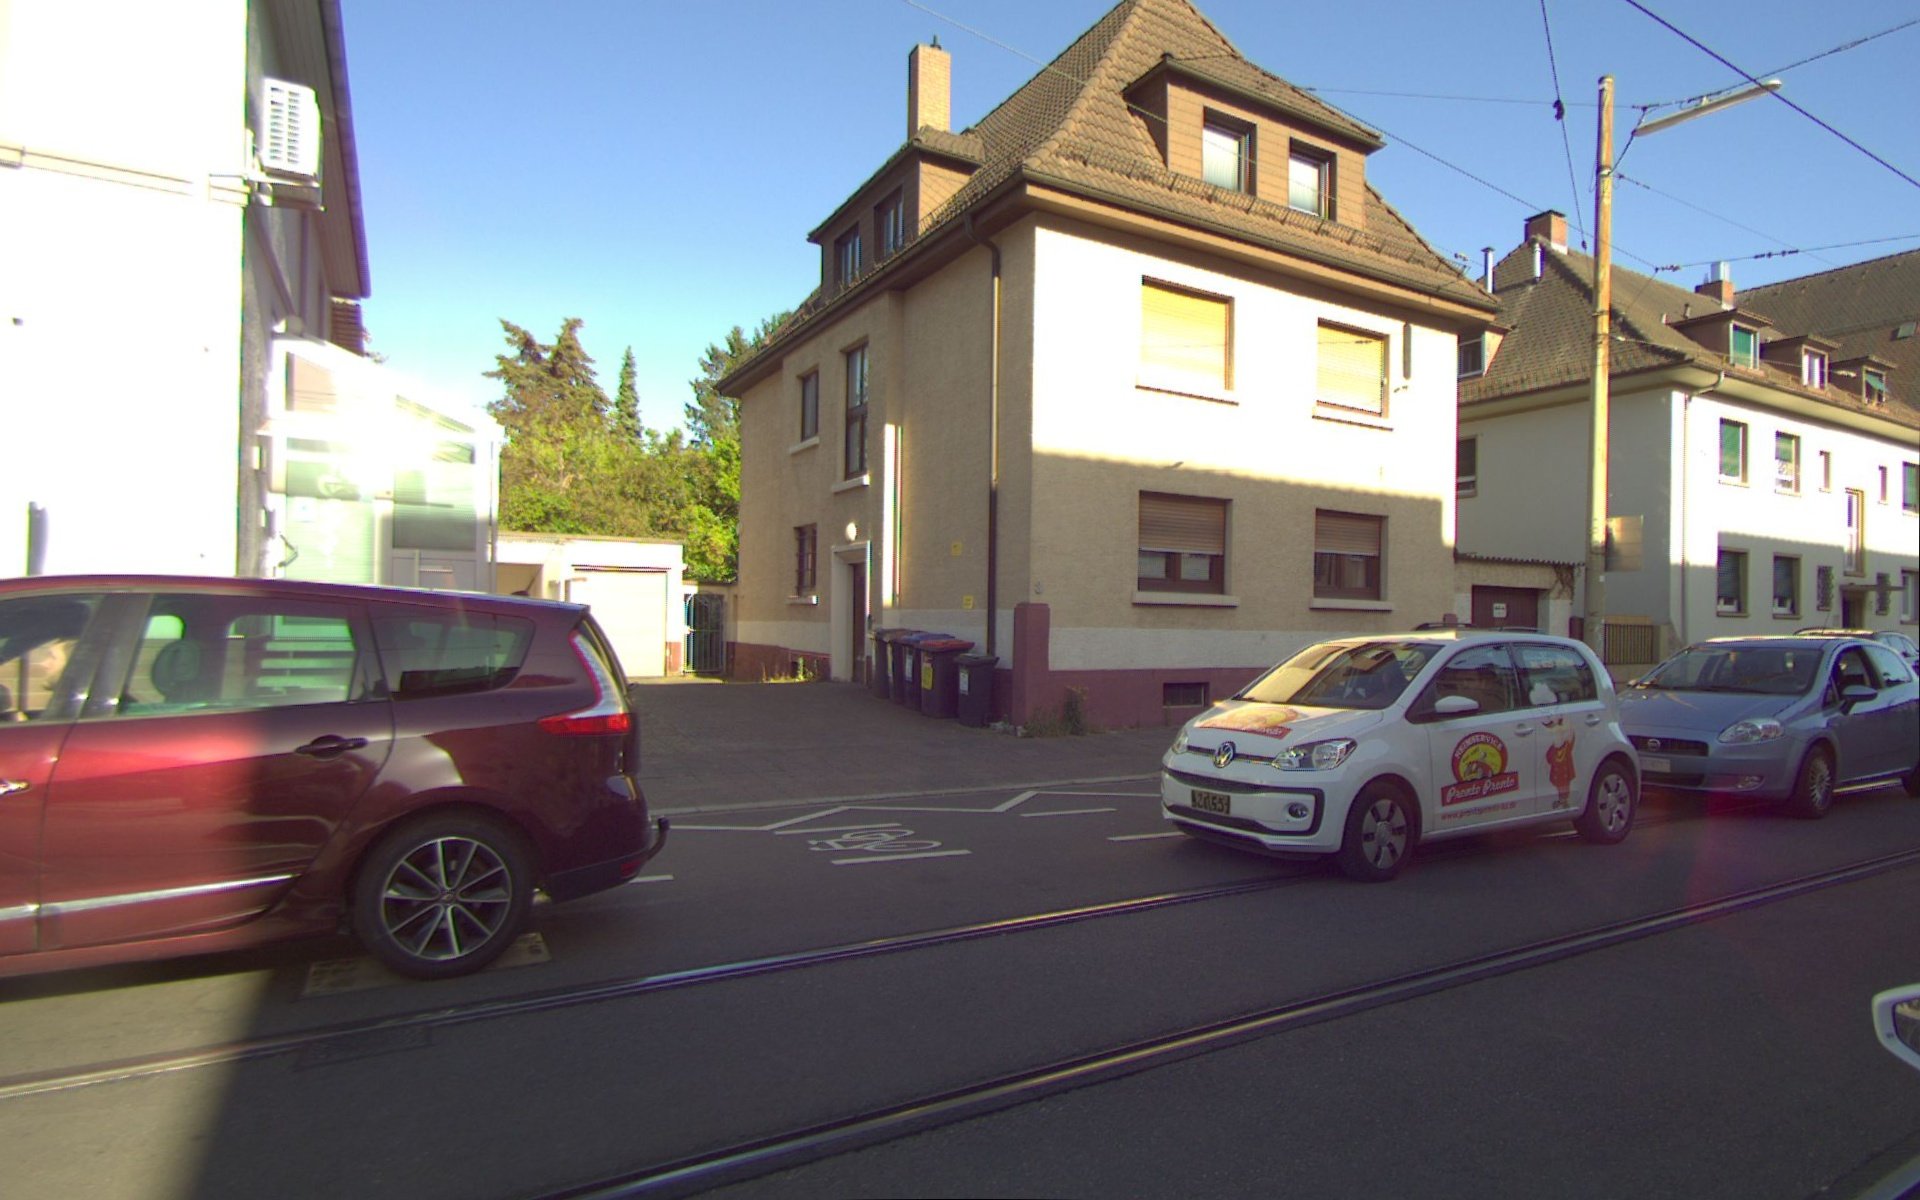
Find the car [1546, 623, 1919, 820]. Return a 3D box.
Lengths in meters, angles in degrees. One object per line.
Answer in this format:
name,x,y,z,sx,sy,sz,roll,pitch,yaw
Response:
car,7.371,0.994,9.275,4.027,1.480,1.610,2,-2,-30

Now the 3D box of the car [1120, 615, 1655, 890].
car,3.022,0.894,6.995,3.569,1.480,1.576,2,-2,-29

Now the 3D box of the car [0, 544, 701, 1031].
car,-3.608,0.651,4.151,4.653,1.632,1.732,2,-2,-27

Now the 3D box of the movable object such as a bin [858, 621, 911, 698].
movable object such as a bin,-1.179,0.923,15.721,0.583,1.126,0.612,2,2,-30

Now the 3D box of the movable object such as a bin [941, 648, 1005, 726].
movable object such as a bin,0.171,1.151,13.440,0.575,0.957,0.654,2,2,-30

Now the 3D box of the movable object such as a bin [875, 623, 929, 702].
movable object such as a bin,-0.884,0.929,15.162,0.583,1.126,0.566,2,2,-30

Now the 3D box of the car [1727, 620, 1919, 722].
car,16.487,1.289,18.874,4.503,1.727,1.753,2,-2,-31

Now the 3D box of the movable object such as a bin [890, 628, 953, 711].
movable object such as a bin,-0.565,0.999,14.602,0.664,1.126,0.639,2,2,-30

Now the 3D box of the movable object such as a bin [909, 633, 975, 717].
movable object such as a bin,-0.257,1.036,14.005,0.664,1.094,0.612,2,2,-30

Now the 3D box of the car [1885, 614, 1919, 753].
car,14.102,1.090,13.170,4.312,1.727,1.696,2,-2,-30

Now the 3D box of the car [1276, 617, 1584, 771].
car,5.904,1.092,12.529,3.876,1.649,1.608,2,-2,-31
